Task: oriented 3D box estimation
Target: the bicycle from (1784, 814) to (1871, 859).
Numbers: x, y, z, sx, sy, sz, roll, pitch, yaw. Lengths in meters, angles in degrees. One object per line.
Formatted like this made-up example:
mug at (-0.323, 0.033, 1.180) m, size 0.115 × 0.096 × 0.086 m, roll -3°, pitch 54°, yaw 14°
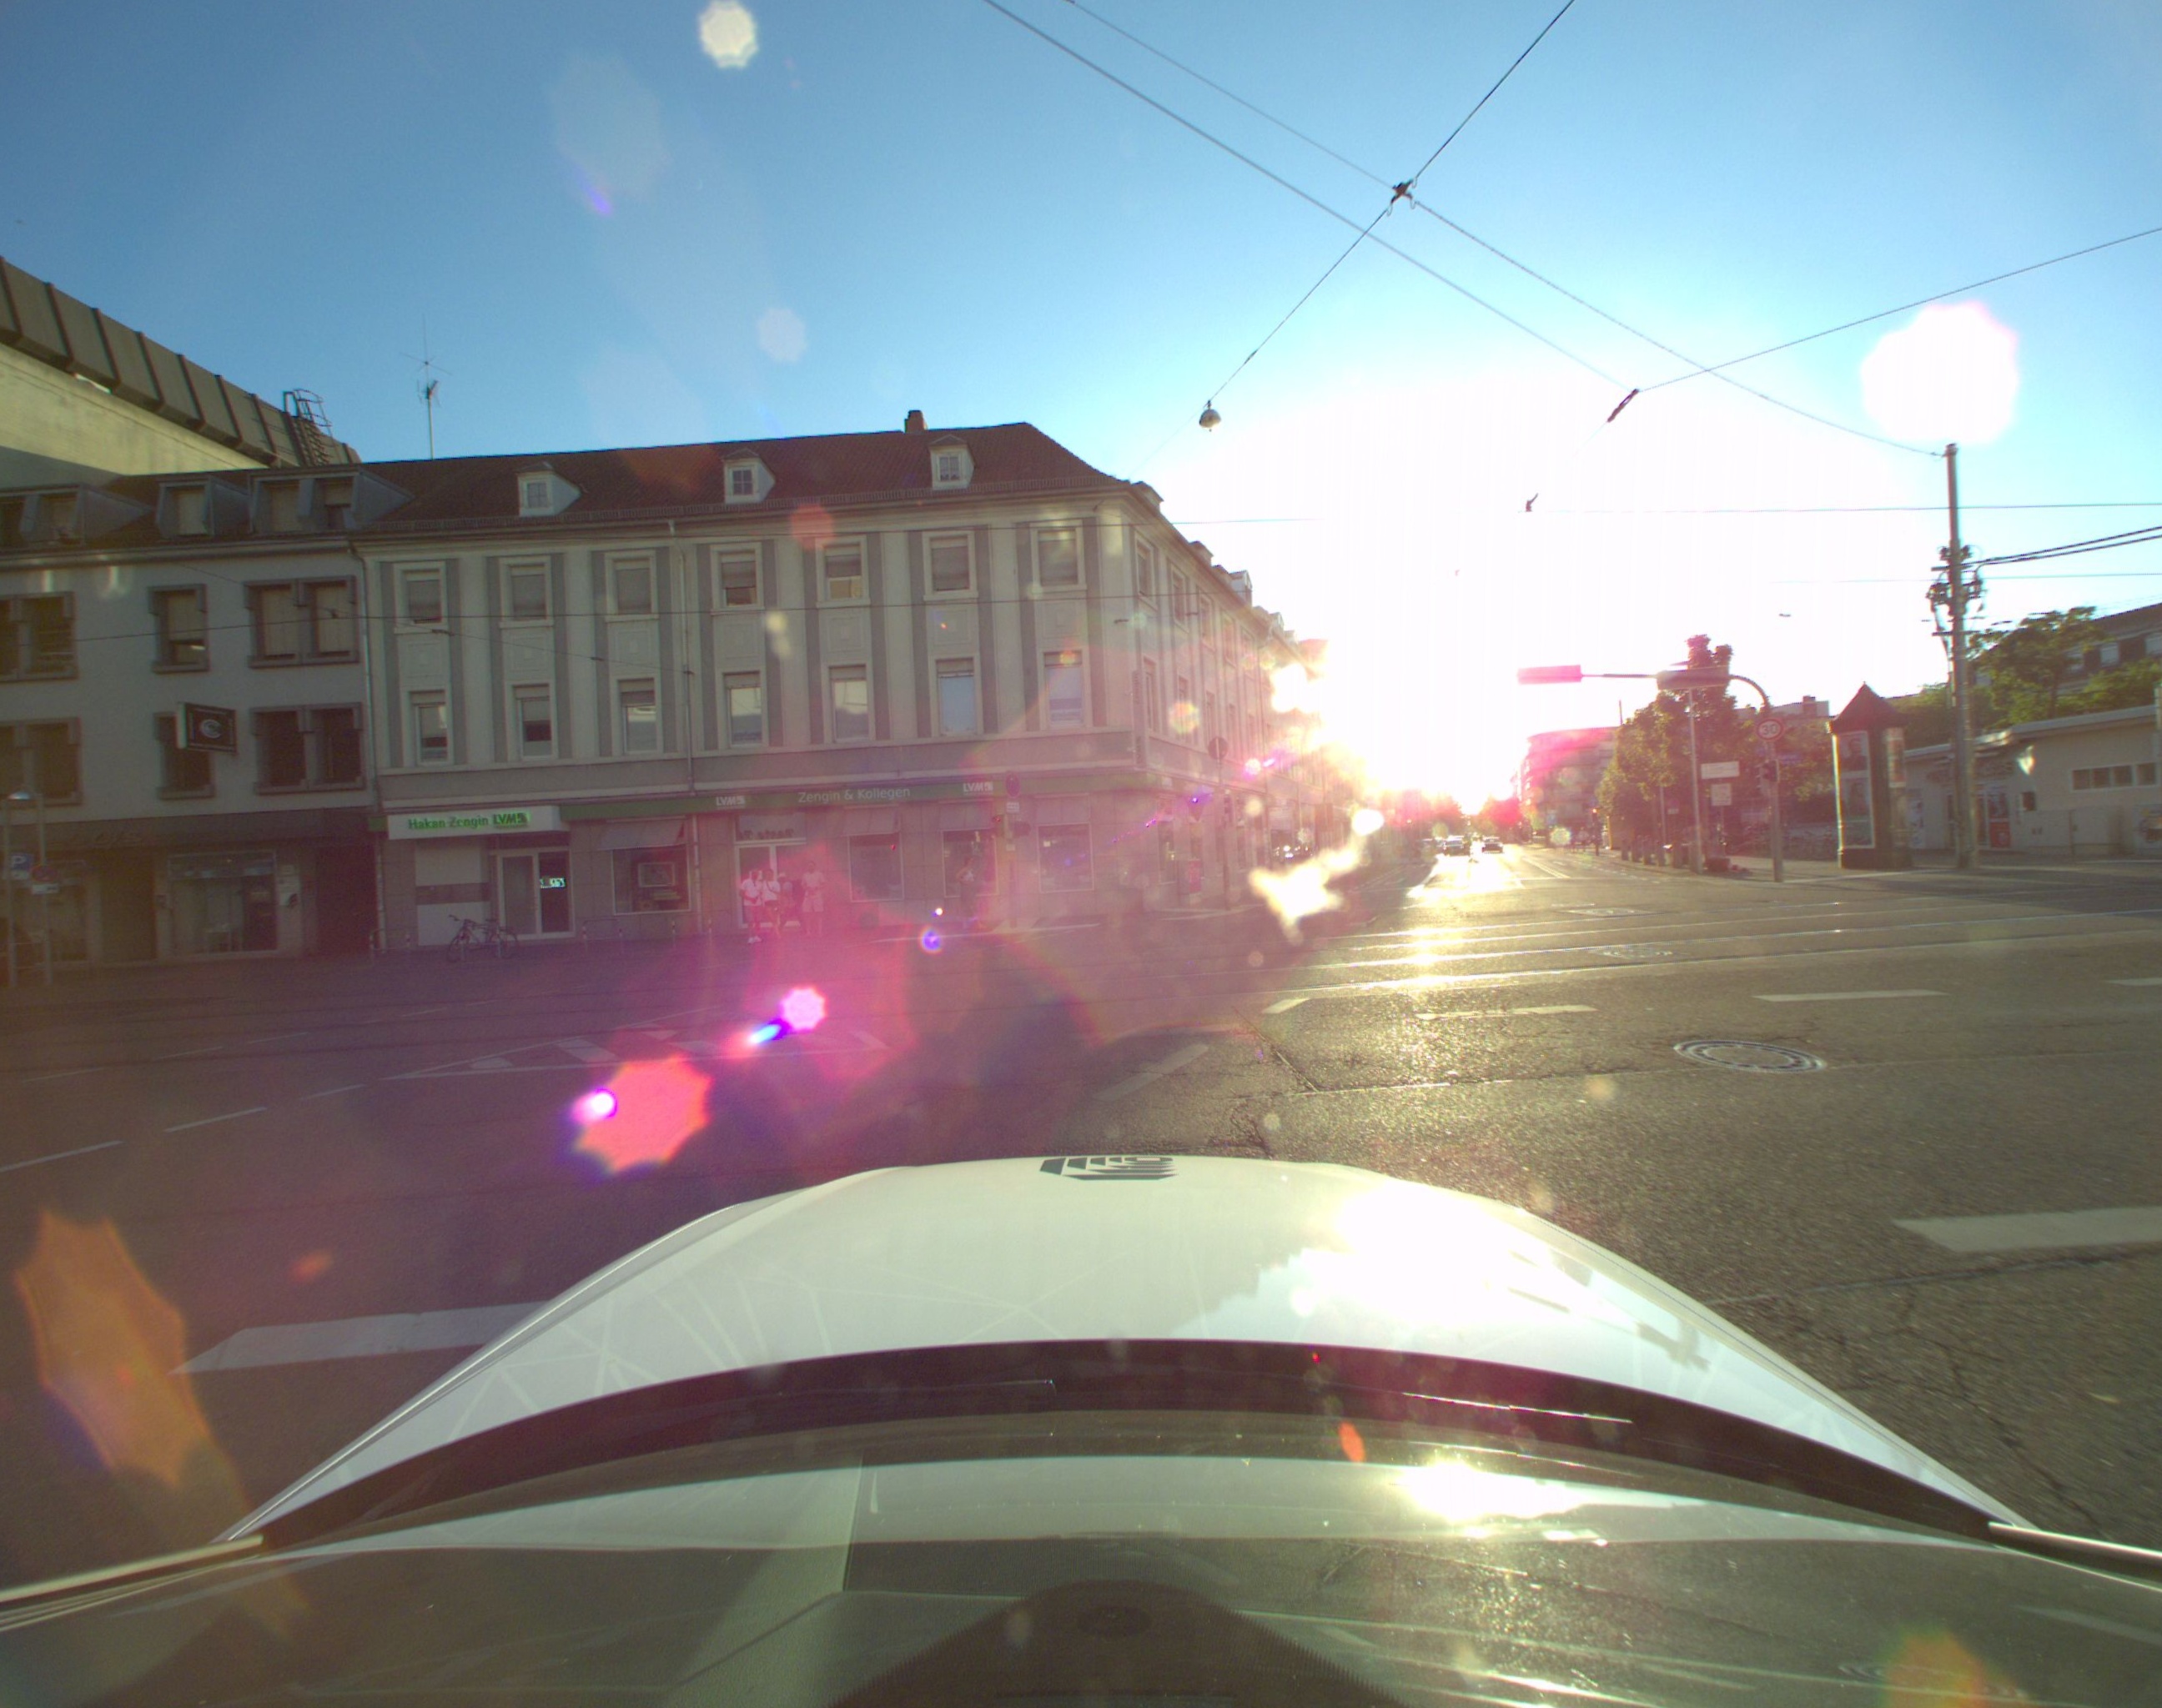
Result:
bicycle at (27.704, -0.642, 30.279) m, size 2.202 × 1.522 × 0.685 m, roll -3°, pitch -1°, yaw 26°

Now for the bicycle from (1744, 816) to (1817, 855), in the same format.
bicycle at (29.897, -0.781, 34.828) m, size 2.202 × 1.522 × 0.685 m, roll -3°, pitch -1°, yaw 26°

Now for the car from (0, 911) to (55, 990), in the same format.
car at (-27.045, 2.388, 18.678) m, size 4.531 × 1.716 × 1.922 m, roll -3°, pitch 1°, yaw 2°

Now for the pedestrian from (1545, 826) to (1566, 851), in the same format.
pedestrian at (35.539, -1.177, 61.008) m, size 0.807 × 1.783 × 0.987 m, roll -3°, pitch -1°, yaw -21°

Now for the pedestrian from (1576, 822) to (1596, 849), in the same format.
pedestrian at (37.812, -1.353, 60.966) m, size 0.810 × 1.957 × 0.982 m, roll -2°, pitch -1°, yaw -38°

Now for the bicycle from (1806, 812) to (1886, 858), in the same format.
bicycle at (27.441, -0.656, 29.243) m, size 1.967 × 1.522 × 0.482 m, roll -3°, pitch -1°, yaw 26°

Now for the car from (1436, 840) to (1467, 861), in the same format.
car at (32.247, -0.316, 70.851) m, size 2.282 × 1.678 × 5.565 m, roll -3°, pitch -1°, yaw 26°

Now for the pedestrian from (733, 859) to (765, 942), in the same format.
pedestrian at (-7.952, 1.090, 19.509) m, size 0.494 × 1.928 × 0.574 m, roll -3°, pitch -1°, yaw -9°

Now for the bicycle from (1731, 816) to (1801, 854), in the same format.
bicycle at (30.357, -0.827, 36.150) m, size 2.202 × 1.522 × 0.685 m, roll -3°, pitch -1°, yaw 26°

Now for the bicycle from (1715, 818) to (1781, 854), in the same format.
bicycle at (30.950, -0.838, 37.829) m, size 2.201 × 1.522 × 0.685 m, roll -3°, pitch -1°, yaw 30°

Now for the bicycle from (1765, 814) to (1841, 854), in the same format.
bicycle at (29.813, -0.810, 33.663) m, size 2.202 × 1.522 × 0.685 m, roll -3°, pitch -1°, yaw 26°

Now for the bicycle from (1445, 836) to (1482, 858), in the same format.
bicycle at (26.356, -0.464, 56.198) m, size 0.684 × 1.402 × 2.205 m, roll -3°, pitch -1°, yaw -36°

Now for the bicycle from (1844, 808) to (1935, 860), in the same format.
bicycle at (25.825, -0.639, 26.051) m, size 1.967 × 1.522 × 0.482 m, roll -3°, pitch -1°, yaw 25°

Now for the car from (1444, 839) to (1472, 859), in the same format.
car at (35.946, -0.508, 77.546) m, size 2.282 × 1.678 × 5.565 m, roll -3°, pitch -1°, yaw 26°

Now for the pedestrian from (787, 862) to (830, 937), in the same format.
pedestrian at (-6.592, 1.090, 19.714) m, size 0.694 × 1.745 × 0.640 m, roll -3°, pitch -1°, yaw 3°

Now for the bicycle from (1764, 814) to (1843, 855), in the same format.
bicycle at (28.919, -0.765, 32.642) m, size 2.202 × 1.522 × 0.685 m, roll -3°, pitch -1°, yaw 26°

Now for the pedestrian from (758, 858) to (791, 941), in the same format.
pedestrian at (-7.387, 1.081, 19.638) m, size 0.528 × 1.928 × 0.638 m, roll -3°, pitch -1°, yaw -10°

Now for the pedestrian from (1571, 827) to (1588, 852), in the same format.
pedestrian at (36.669, -1.069, 59.930) m, size 0.796 × 1.786 × 1.000 m, roll -5°, pitch -3°, yaw 39°

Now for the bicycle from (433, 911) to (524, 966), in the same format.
bicycle at (-13.799, 1.923, 18.670) m, size 1.638 × 1.089 × 0.479 m, roll -4°, pitch 1°, yaw -2°

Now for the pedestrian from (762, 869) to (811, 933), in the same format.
pedestrian at (-7.423, 1.174, 20.546) m, size 0.863 × 1.548 × 0.700 m, roll -3°, pitch -1°, yaw 3°

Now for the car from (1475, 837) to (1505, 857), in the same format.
car at (38.167, -0.645, 76.044) m, size 2.282 × 1.678 × 5.565 m, roll -3°, pitch -1°, yaw 26°

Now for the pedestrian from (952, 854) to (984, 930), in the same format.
pedestrian at (-2.717, 0.907, 19.635) m, size 0.644 × 1.778 × 0.671 m, roll -3°, pitch -1°, yaw -5°

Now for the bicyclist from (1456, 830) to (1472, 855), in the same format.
bicyclist at (26.409, -0.795, 56.099) m, size 0.684 × 1.707 × 0.662 m, roll -3°, pitch -1°, yaw -36°
